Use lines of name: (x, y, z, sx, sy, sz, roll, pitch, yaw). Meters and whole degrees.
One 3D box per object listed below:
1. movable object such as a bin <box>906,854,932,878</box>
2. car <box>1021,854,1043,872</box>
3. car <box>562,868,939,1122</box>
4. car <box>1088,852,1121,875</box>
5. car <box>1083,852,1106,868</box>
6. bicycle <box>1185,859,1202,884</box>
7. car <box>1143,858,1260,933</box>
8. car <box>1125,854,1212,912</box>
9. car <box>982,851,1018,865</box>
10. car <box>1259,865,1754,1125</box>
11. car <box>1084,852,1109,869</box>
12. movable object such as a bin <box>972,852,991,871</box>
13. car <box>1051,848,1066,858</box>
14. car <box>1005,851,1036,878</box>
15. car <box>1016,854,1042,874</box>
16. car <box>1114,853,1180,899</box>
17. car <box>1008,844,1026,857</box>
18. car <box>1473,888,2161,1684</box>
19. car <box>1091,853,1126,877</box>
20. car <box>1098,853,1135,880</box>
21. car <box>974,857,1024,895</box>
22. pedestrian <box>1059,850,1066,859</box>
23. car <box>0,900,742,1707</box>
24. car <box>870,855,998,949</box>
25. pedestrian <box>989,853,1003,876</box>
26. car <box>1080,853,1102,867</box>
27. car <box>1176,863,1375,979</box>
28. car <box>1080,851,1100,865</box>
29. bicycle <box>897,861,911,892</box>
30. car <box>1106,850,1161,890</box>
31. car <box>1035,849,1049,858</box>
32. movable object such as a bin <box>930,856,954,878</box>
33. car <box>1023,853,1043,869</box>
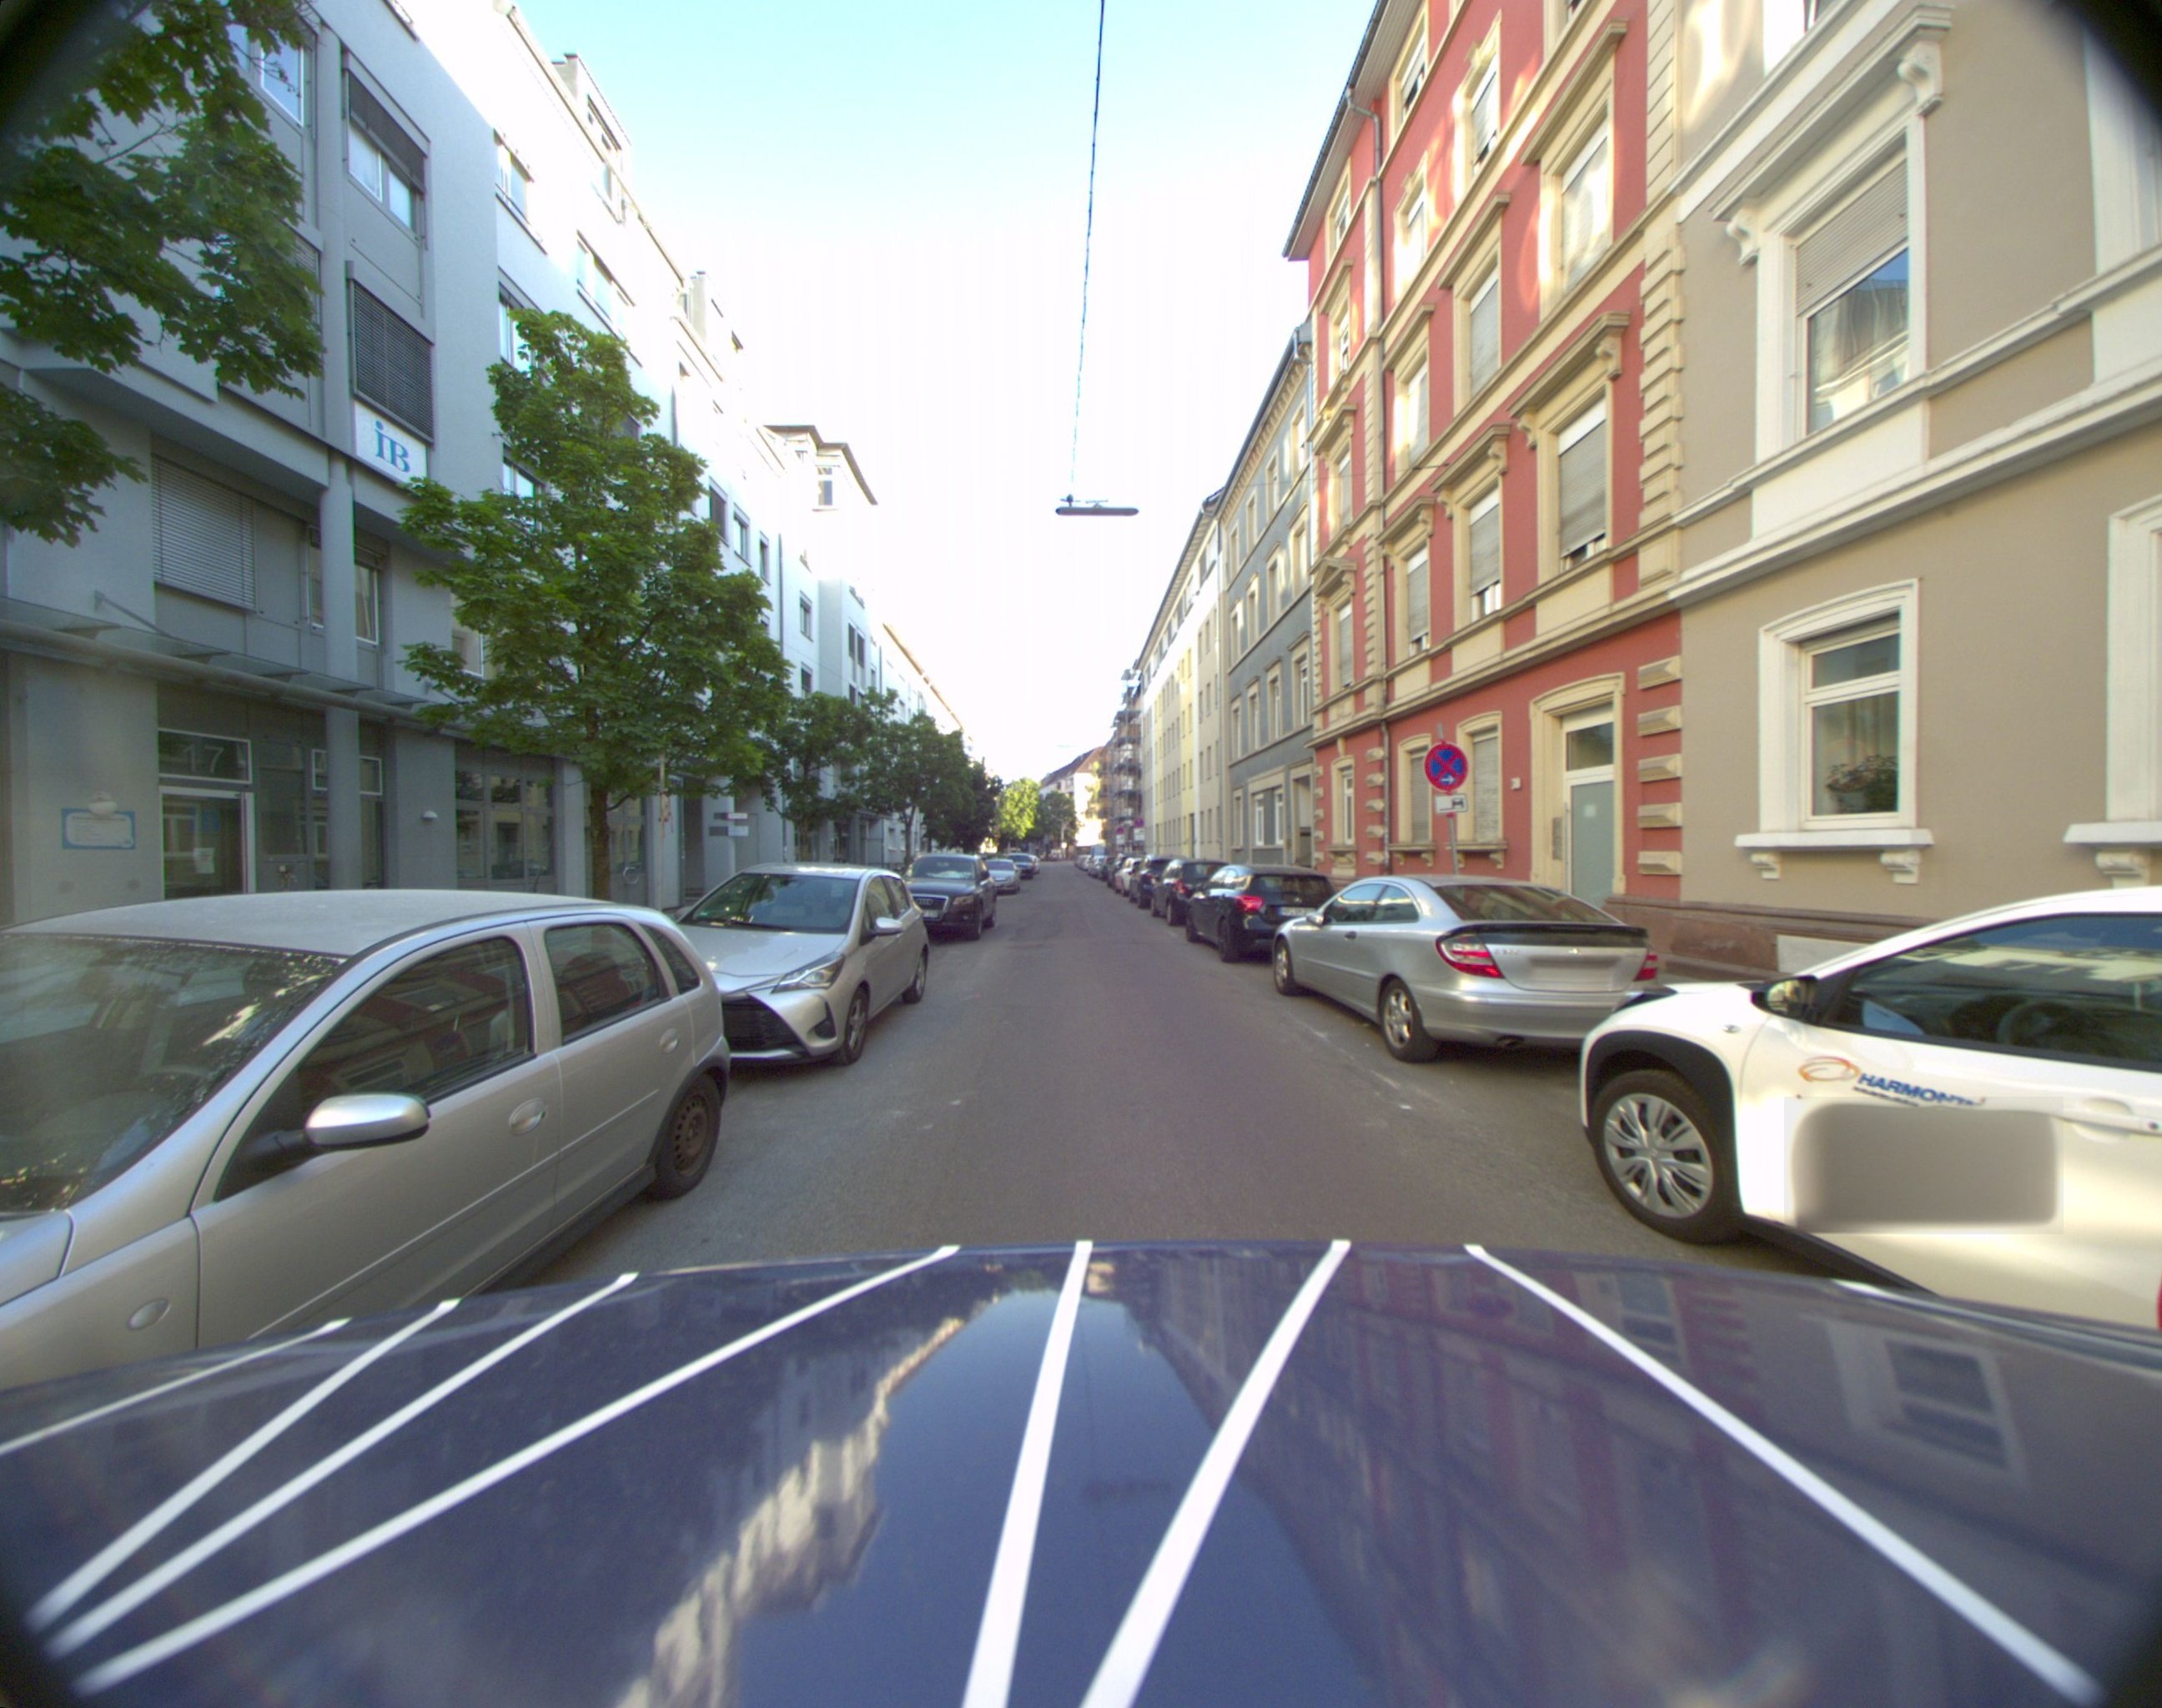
movable object such as a bin: (-9.547, 0.699, 44.829, 1.265, 1.428, 1.138, 0, 1, -2)
car: (-4.105, 0.713, 64.416, 1.681, 1.411, 4.135, 1, 0, -2)
car: (-2.491, 0.944, 6.853, 1.681, 1.516, 3.970, 1, 0, 0)
car: (1.652, 0.655, 54.624, 1.928, 1.480, 4.615, 1, 0, -3)
car: (1.272, 0.589, 73.897, 1.999, 1.439, 3.998, 1, 0, -3)
bicycle: (5.265, 0.807, 35.651, 0.451, 1.068, 1.751, -2, 1, -1)
car: (2.737, 0.892, 18.258, 1.906, 1.551, 4.239, 1, 0, -3)
car: (2.548, 0.806, 23.073, 1.926, 1.551, 4.266, 1, 0, -3)
car: (-9.335, 0.476, 87.896, 3.998, 1.556, 1.999, 1, 1, -4)
car: (3.176, 0.920, 6.891, 1.926, 1.551, 4.266, 1, 0, -3)
car: (1.356, 0.577, 69.069, 1.999, 1.496, 3.998, 1, 0, -3)
movable object such as a bin: (-7.801, 0.595, 59.580, 1.288, 1.428, 1.223, 0, 1, -2)
car: (-3.858, -0.215, 131.784, 2.081, 1.760, 4.214, 1, 0, -8)
car: (-3.841, 0.629, 48.864, 1.876, 1.626, 4.720, 1, 0, -3)
car: (-4.022, 0.739, 59.467, 1.680, 1.474, 3.652, 1, 0, 1)
car: (2.416, 0.782, 28.973, 1.926, 1.551, 4.266, 1, 0, -3)
car: (-11.786, -0.674, 140.283, 2.163, 2.270, 6.199, 1, 0, -15)
car: (3.166, 0.957, 2.090, 1.925, 1.498, 4.267, 1, 0, 0)
car: (1.726, 0.670, 49.256, 1.928, 1.480, 4.616, 1, 0, -2)
car: (2.021, 0.699, 44.408, 1.784, 1.480, 4.419, 1, 0, -2)
car: (-3.395, 0.890, 32.194, 1.768, 1.421, 4.343, 1, 0, -2)
pedestrian: (-3.104, 0.112, 127.739, 0.868, 1.455, 0.804, 1, 1, 27)
car: (-2.603, 0.994, 2.004, 1.680, 1.467, 3.729, 1, 0, 1)
car: (-2.847, 0.853, 15.723, 1.890, 1.613, 4.433, 1, 0, -2)
pedestrian: (-5.319, 0.642, 47.493, 0.802, 1.455, 0.870, 1, 1, -2)
car: (1.023, 0.595, 79.206, 1.999, 1.423, 3.998, 1, 0, -3)
car: (2.867, 0.927, 12.285, 1.926, 1.475, 4.266, 1, 0, -3)
car: (0.977, 0.454, 84.626, 1.999, 1.423, 3.998, 1, 0, -3)
bicycle: (-7.072, 0.869, 30.366, 0.522, 1.161, 1.738, 1, 1, -12)
car: (2.286, 0.671, 34.350, 1.926, 1.654, 4.467, 1, 0, -3)
car: (-7.621, -0.069, 147.672, 2.082, 1.760, 4.214, 1, 0, -10)
movable object such as a bin: (-8.248, 0.758, 45.122, 1.265, 1.313, 1.138, 0, 1, -2)
car: (-4.433, 0.621, 70.596, 1.681, 1.411, 4.134, 1, 0, -2)
